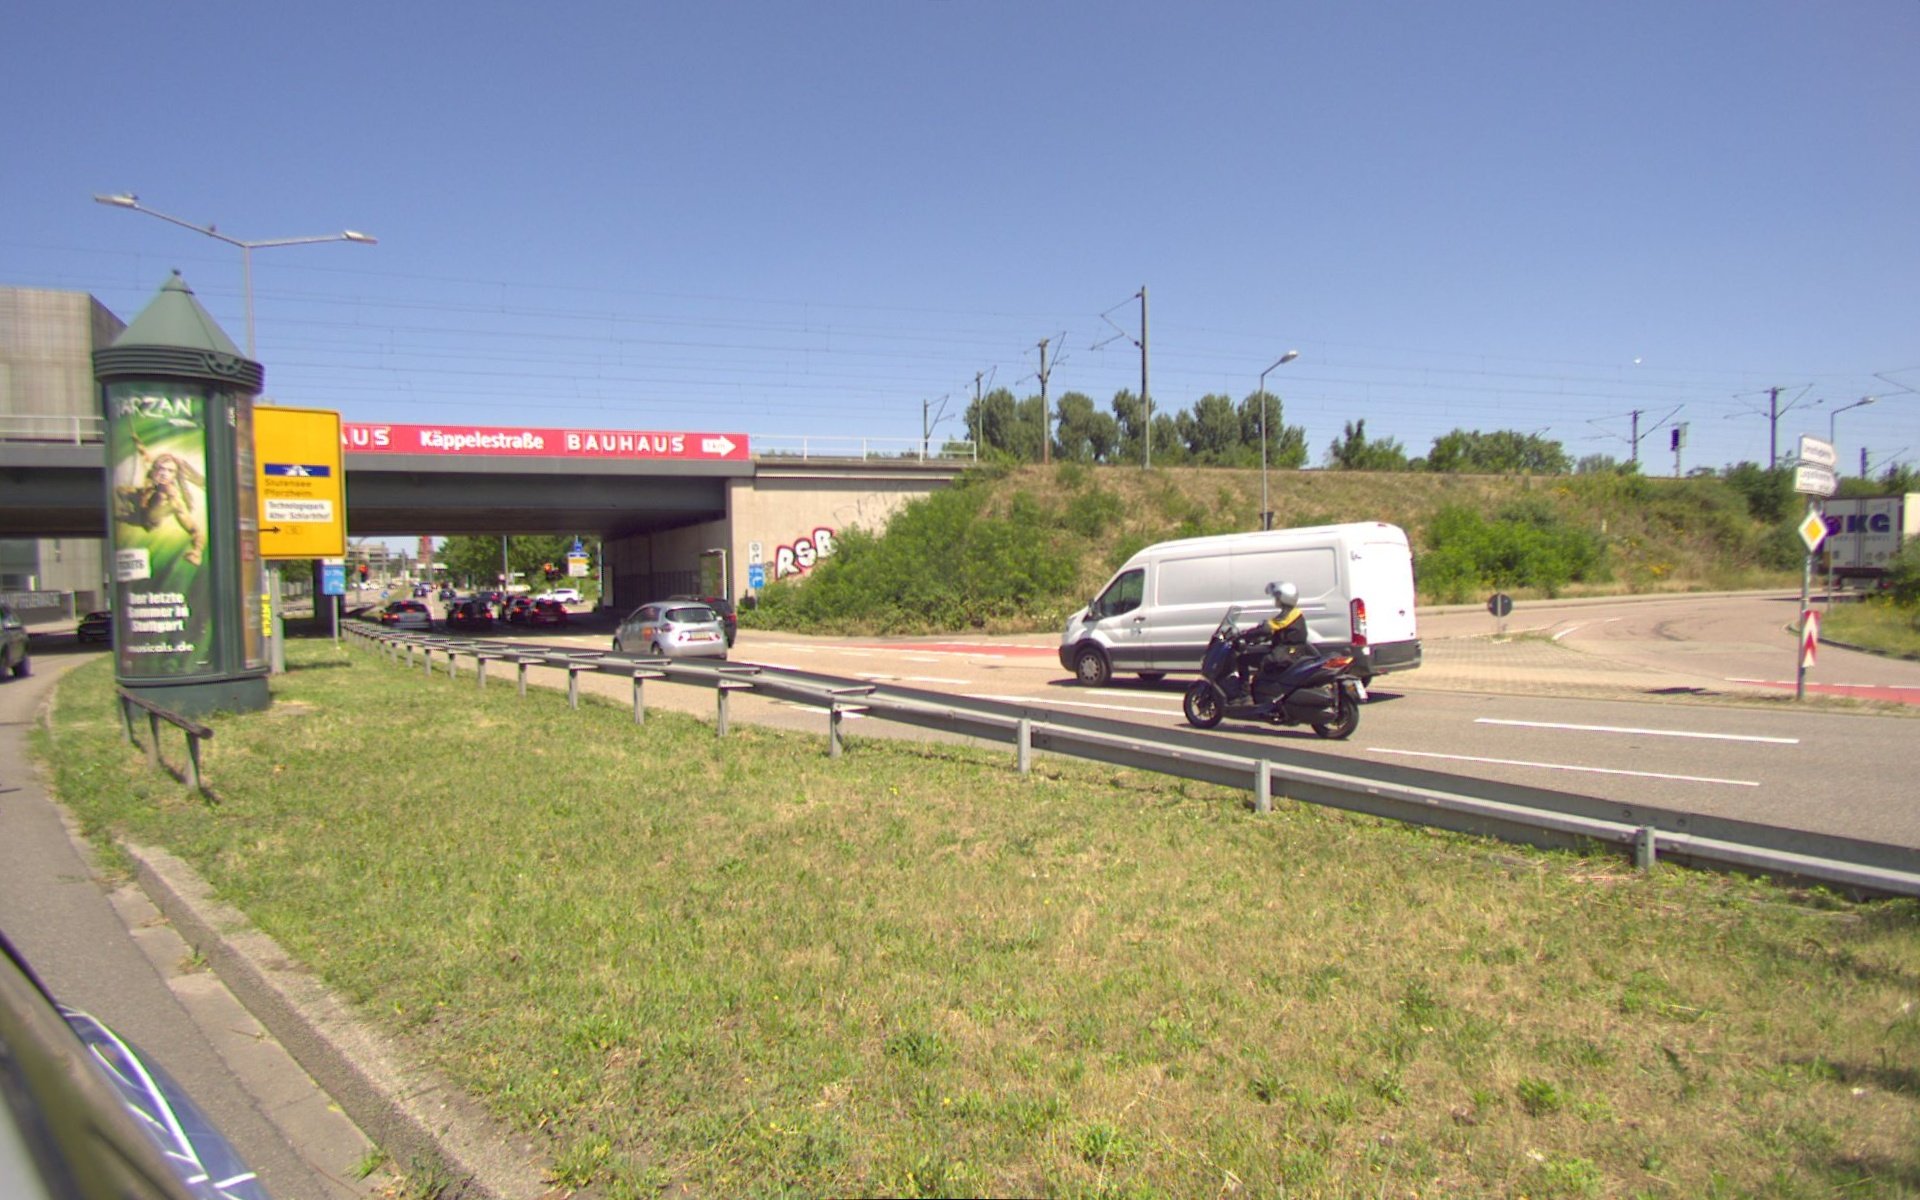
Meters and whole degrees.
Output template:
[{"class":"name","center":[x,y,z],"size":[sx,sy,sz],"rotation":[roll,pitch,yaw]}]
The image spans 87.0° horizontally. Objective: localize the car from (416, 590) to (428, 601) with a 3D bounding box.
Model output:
[{"class":"car","center":[-99.301,-0.803,186.880],"size":[1.966,2.029,4.013],"rotation":[-1,0,-28]}]

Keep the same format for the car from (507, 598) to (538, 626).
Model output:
[{"class":"car","center":[-24.878,0.663,57.647],"size":[1.548,1.514,3.418],"rotation":[-1,0,-23]}]

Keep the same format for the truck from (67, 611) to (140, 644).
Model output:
[{"class":"truck","center":[-43.309,1.345,51.256],"size":[1.702,1.513,4.013],"rotation":[-1,0,-23]}]

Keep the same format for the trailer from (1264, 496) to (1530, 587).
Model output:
[{"class":"trailer","center":[21.410,-2.876,49.576],"size":[12.492,4.081,3.029],"rotation":[-2,-1,-14]}]

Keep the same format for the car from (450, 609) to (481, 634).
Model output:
[{"class":"car","center":[-25.156,1.072,51.558],"size":[1.250,1.194,2.787],"rotation":[-1,0,-23]}]

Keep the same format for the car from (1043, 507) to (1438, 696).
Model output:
[{"class":"car","center":[4.254,0.131,16.322],"size":[2.070,2.519,5.813],"rotation":[0,-2,-44]}]

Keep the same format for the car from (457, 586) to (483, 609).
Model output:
[{"class":"car","center":[-45.257,-0.258,93.386],"size":[1.966,2.029,4.013],"rotation":[-1,0,-28]}]

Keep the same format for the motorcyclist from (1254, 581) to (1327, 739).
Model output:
[{"class":"motorcyclist","center":[3.574,0.624,10.946],"size":[0.562,1.638,0.581],"rotation":[-1,0,39]}]

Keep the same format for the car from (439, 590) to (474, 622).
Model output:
[{"class":"car","center":[-31.039,0.362,62.417],"size":[1.875,1.874,4.013],"rotation":[-1,0,-26]}]

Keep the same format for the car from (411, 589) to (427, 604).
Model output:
[{"class":"car","center":[-73.609,-0.465,137.566],"size":[1.809,2.029,4.012],"rotation":[-1,0,-29]}]

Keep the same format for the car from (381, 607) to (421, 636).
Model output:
[{"class":"car","center":[-27.389,1.024,49.665],"size":[1.388,1.329,3.272],"rotation":[-1,0,-24]}]

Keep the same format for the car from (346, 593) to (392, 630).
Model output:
[{"class":"car","center":[-31.949,0.613,54.792],"size":[1.875,1.874,4.013],"rotation":[-1,0,-26]}]

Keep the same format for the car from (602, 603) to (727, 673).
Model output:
[{"class":"car","center":[-7.316,0.895,24.800],"size":[1.613,1.579,4.081],"rotation":[0,-1,-37]}]

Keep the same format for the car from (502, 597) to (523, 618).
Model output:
[{"class":"car","center":[-27.987,0.475,63.329],"size":[1.166,1.257,2.701],"rotation":[-1,0,-23]}]

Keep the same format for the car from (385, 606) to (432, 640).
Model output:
[{"class":"car","center":[-24.174,0.981,44.317],"size":[1.611,1.413,4.234],"rotation":[0,-1,-31]}]

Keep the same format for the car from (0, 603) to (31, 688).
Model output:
[{"class":"car","center":[-21.212,0.944,21.423],"size":[1.817,1.708,3.708],"rotation":[-1,0,-36]}]

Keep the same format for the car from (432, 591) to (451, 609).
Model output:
[{"class":"car","center":[-61.429,-0.016,119.908],"size":[1.809,2.029,4.012],"rotation":[-1,0,-29]}]

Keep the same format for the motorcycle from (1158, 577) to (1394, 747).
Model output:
[{"class":"motorcycle","center":[3.405,0.624,11.114],"size":[2.424,1.691,0.591],"rotation":[-1,0,41]}]

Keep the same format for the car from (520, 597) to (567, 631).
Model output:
[{"class":"car","center":[-21.712,0.703,52.680],"size":[1.747,1.680,4.027],"rotation":[-1,0,-29]}]

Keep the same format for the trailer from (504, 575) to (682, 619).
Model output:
[{"class":"trailer","center":[-30.354,-0.315,84.148],"size":[13.653,3.398,2.975],"rotation":[-1,0,-26]}]

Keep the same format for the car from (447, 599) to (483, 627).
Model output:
[{"class":"car","center":[-27.800,0.690,56.878],"size":[1.592,1.487,3.444],"rotation":[-1,0,-23]}]

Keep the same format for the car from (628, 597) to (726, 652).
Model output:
[{"class":"car","center":[-9.216,0.754,32.759],"size":[1.469,1.645,4.483],"rotation":[-2,0,-38]}]
